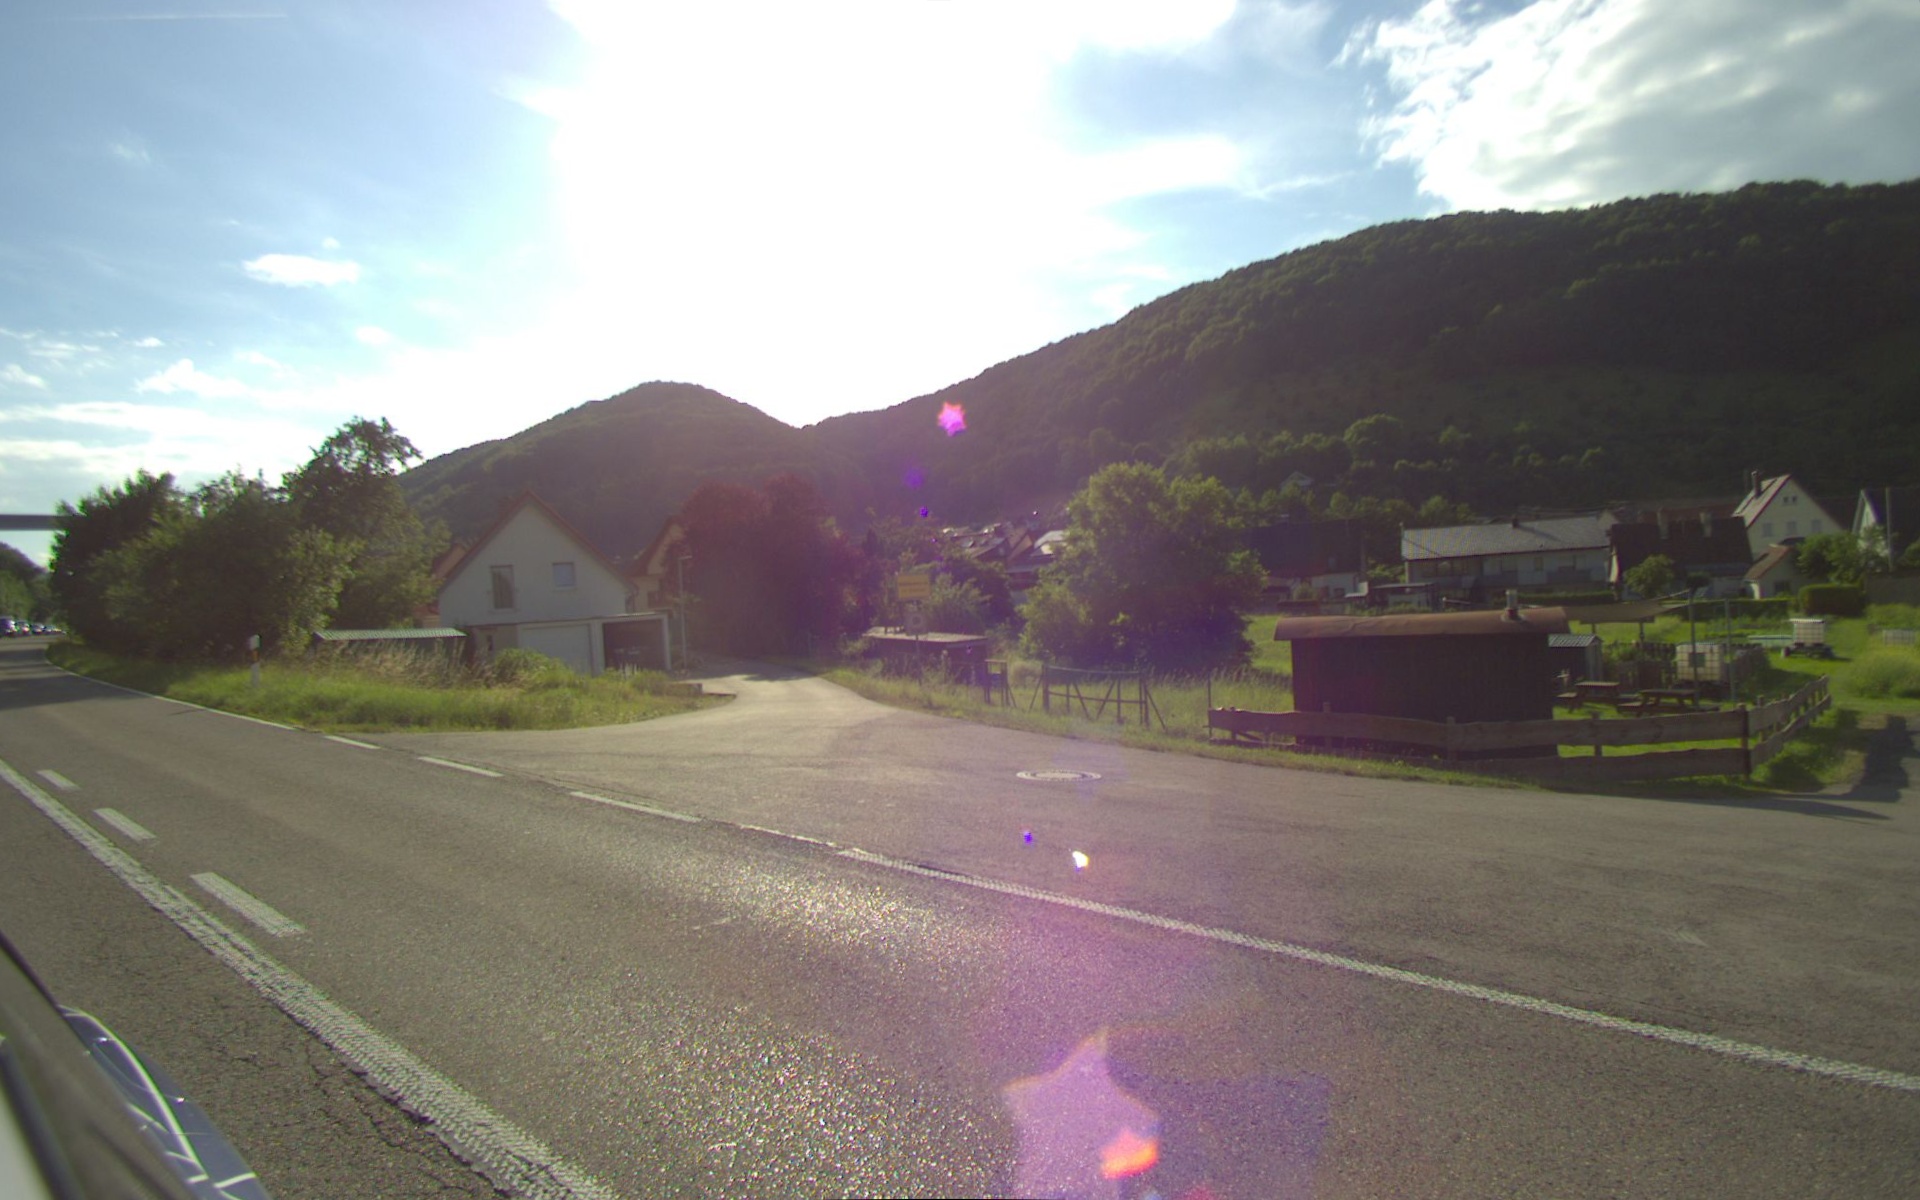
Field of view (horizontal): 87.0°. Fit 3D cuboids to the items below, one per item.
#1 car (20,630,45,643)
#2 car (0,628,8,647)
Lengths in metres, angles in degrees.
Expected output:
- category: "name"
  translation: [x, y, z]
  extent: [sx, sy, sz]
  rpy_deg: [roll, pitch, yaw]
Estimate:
- category: "car"
  translation: [-114.383, 4.461, 124.846]
  extent: [1.813, 1.564, 4.187]
  rpy_deg: [1, -2, -36]
- category: "car"
  translation: [-82.679, 3.193, 86.391]
  extent: [1.791, 1.630, 4.006]
  rpy_deg: [1, -2, -41]
